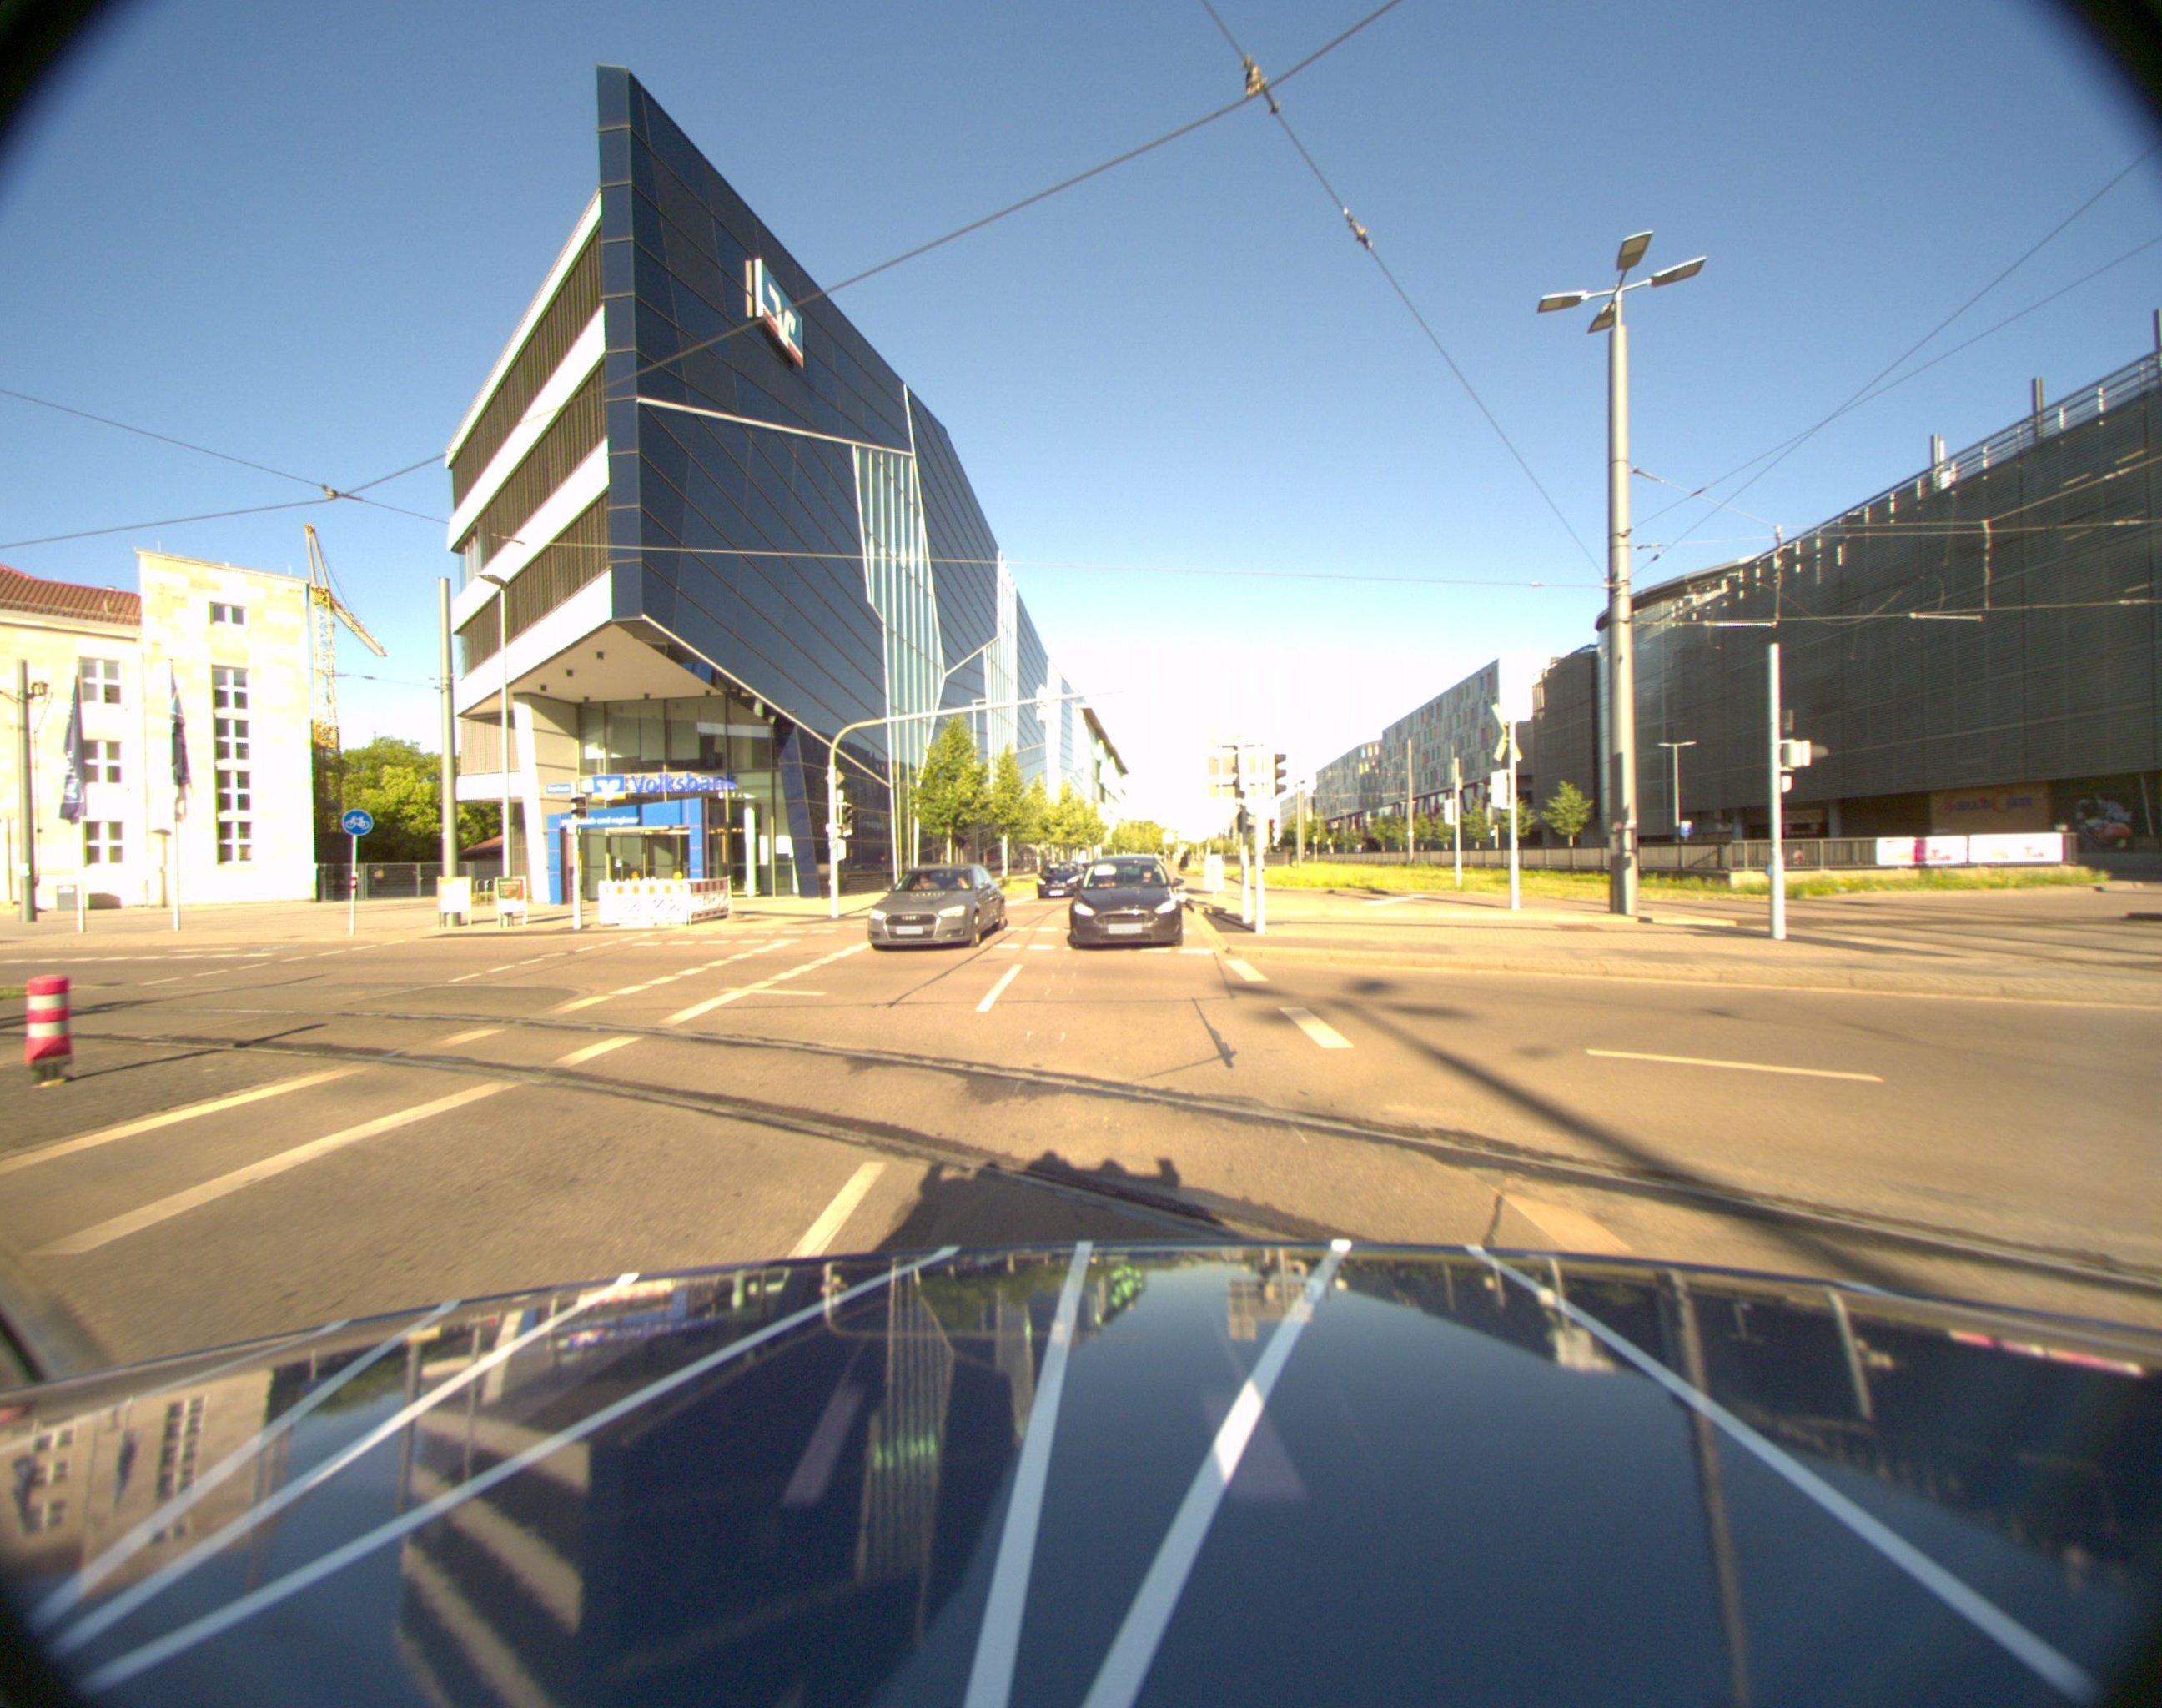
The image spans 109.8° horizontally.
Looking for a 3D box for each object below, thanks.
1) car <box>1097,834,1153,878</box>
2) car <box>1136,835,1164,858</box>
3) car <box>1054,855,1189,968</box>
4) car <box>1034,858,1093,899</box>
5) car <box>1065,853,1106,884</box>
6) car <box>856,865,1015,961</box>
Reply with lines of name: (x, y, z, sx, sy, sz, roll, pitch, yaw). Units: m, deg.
car: (1.824, 0.089, 30.575, 1.906, 1.612, 4.002, -2, 0, 7)
car: (5.270, -0.536, 57.576, 1.906, 1.612, 4.002, -2, 0, 7)
car: (0.822, 0.813, 12.575, 1.786, 1.499, 4.593, -2, -1, 7)
car: (-0.651, 0.963, 31.150, 1.752, 1.469, 3.974, -4, -1, 7)
car: (0.296, 0.759, 40.820, 1.752, 1.469, 3.420, -4, -1, 7)
car: (-2.490, 0.961, 14.103, 1.749, 1.383, 4.266, -3, -1, 4)
